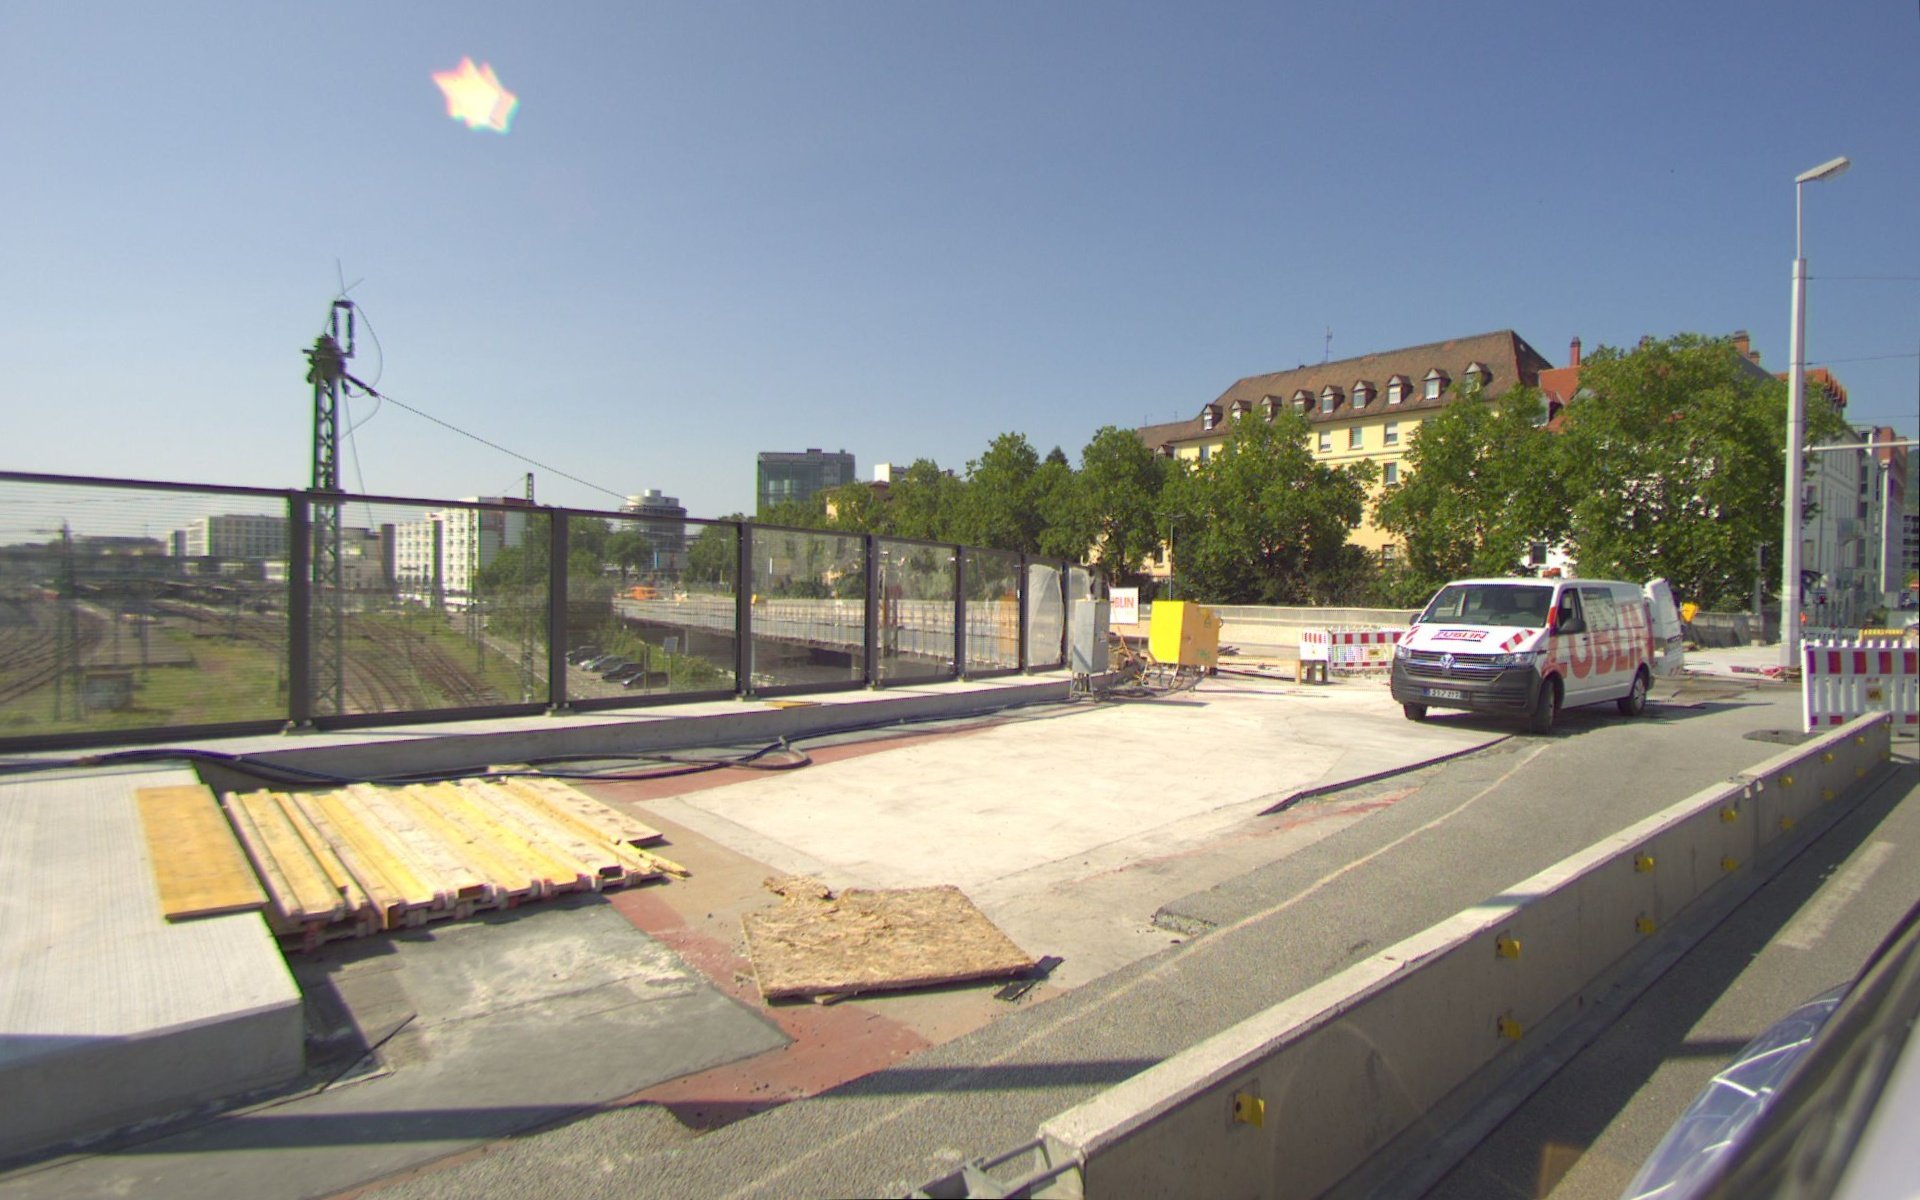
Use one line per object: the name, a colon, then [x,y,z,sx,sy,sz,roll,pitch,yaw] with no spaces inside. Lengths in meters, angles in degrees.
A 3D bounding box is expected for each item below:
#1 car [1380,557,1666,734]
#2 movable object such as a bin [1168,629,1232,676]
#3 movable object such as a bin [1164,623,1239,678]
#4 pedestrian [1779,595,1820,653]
car: [7.946,0.535,14.085,4.803,2.059,1.882,0,0,-40]
movable object such as a bin: [5.059,1.094,21.370,1.083,0.853,0.757,4,0,-1]
movable object such as a bin: [5.422,1.138,22.865,0.595,1.144,2.045,-2,-2,-18]
pedestrian: [27.137,0.774,32.718,0.849,1.817,0.821,1,2,-42]
